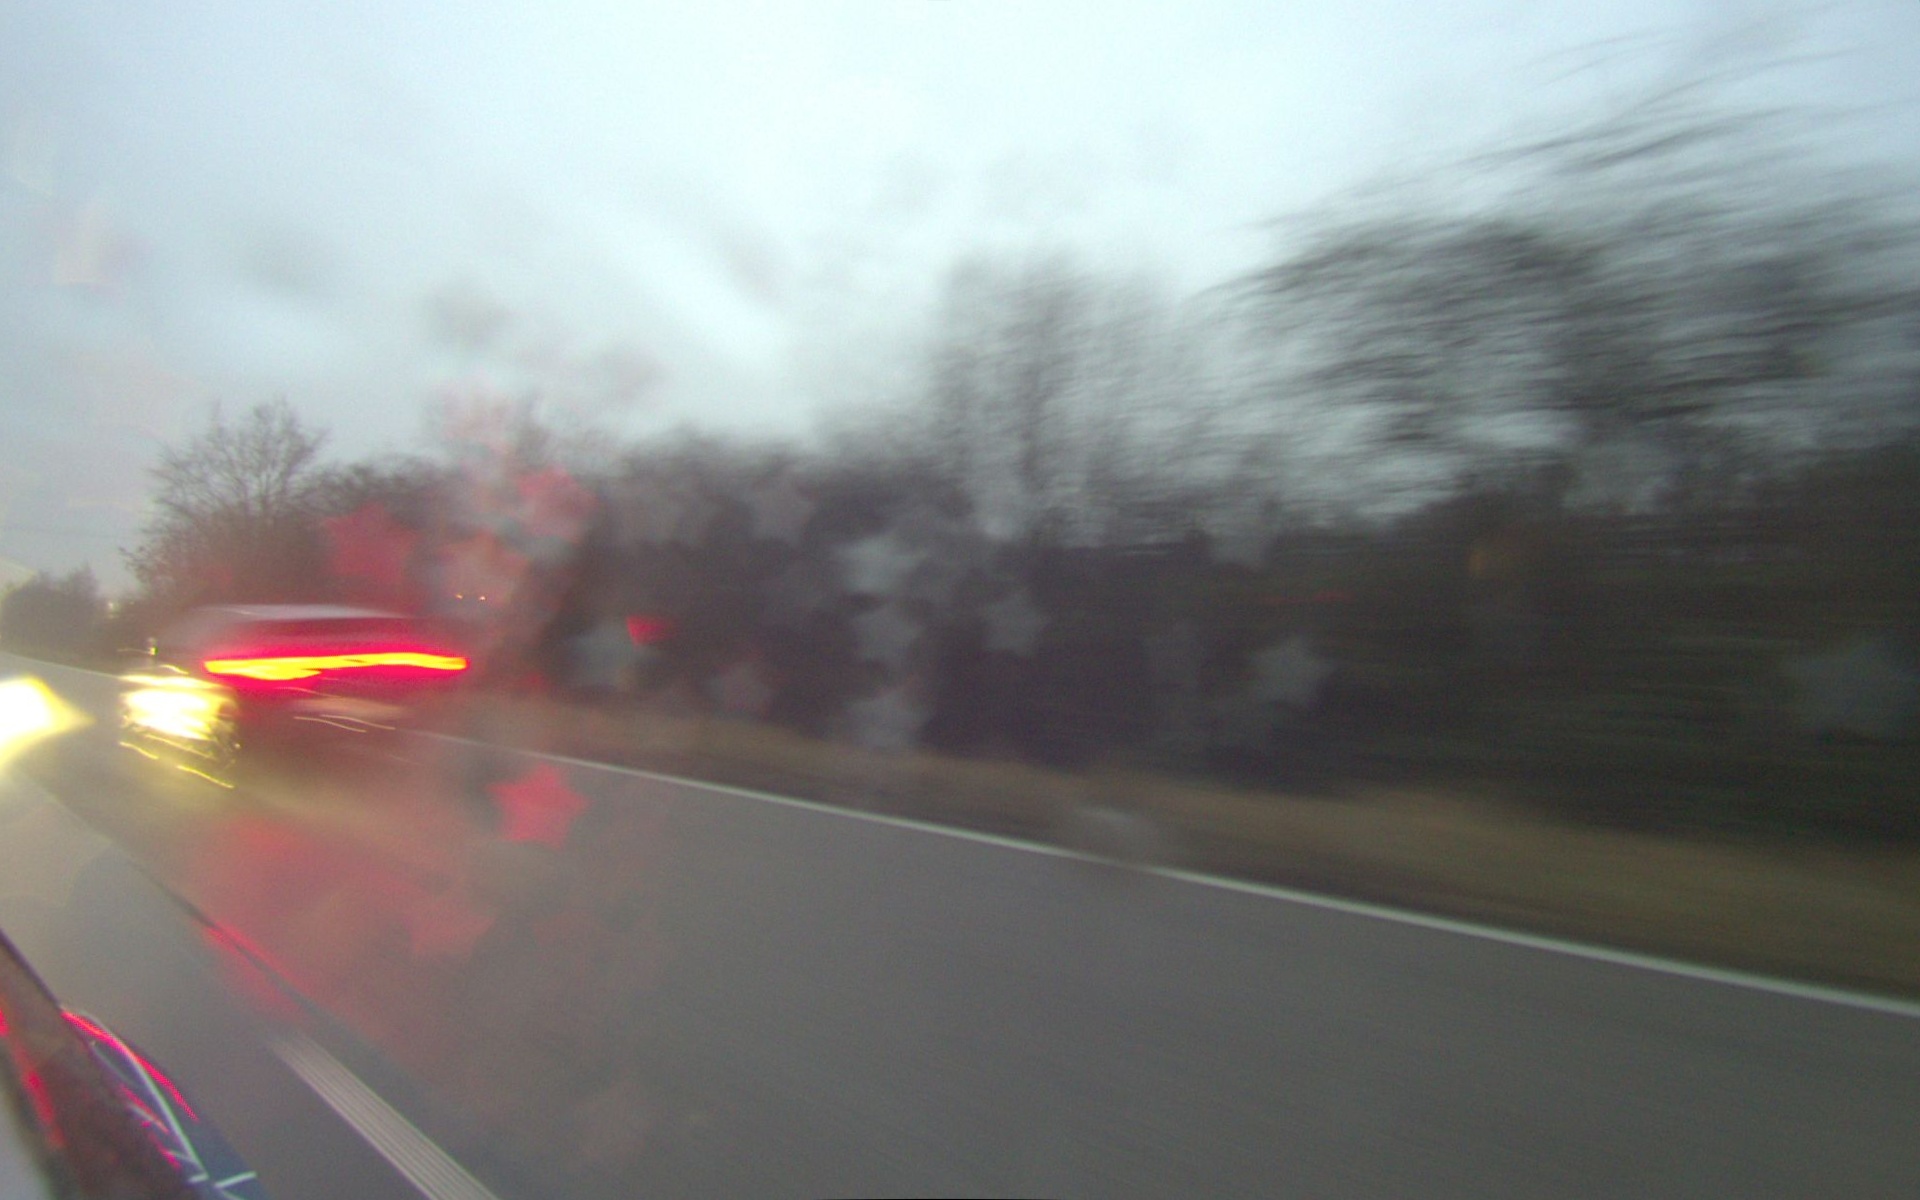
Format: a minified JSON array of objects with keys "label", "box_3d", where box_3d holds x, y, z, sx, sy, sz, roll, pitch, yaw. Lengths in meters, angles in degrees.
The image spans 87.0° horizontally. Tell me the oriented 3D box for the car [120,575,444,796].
[{"label":"car","box_3d":[-6.955,0.740,10.200,4.257,1.764,1.766,-2,-2,43]}]
